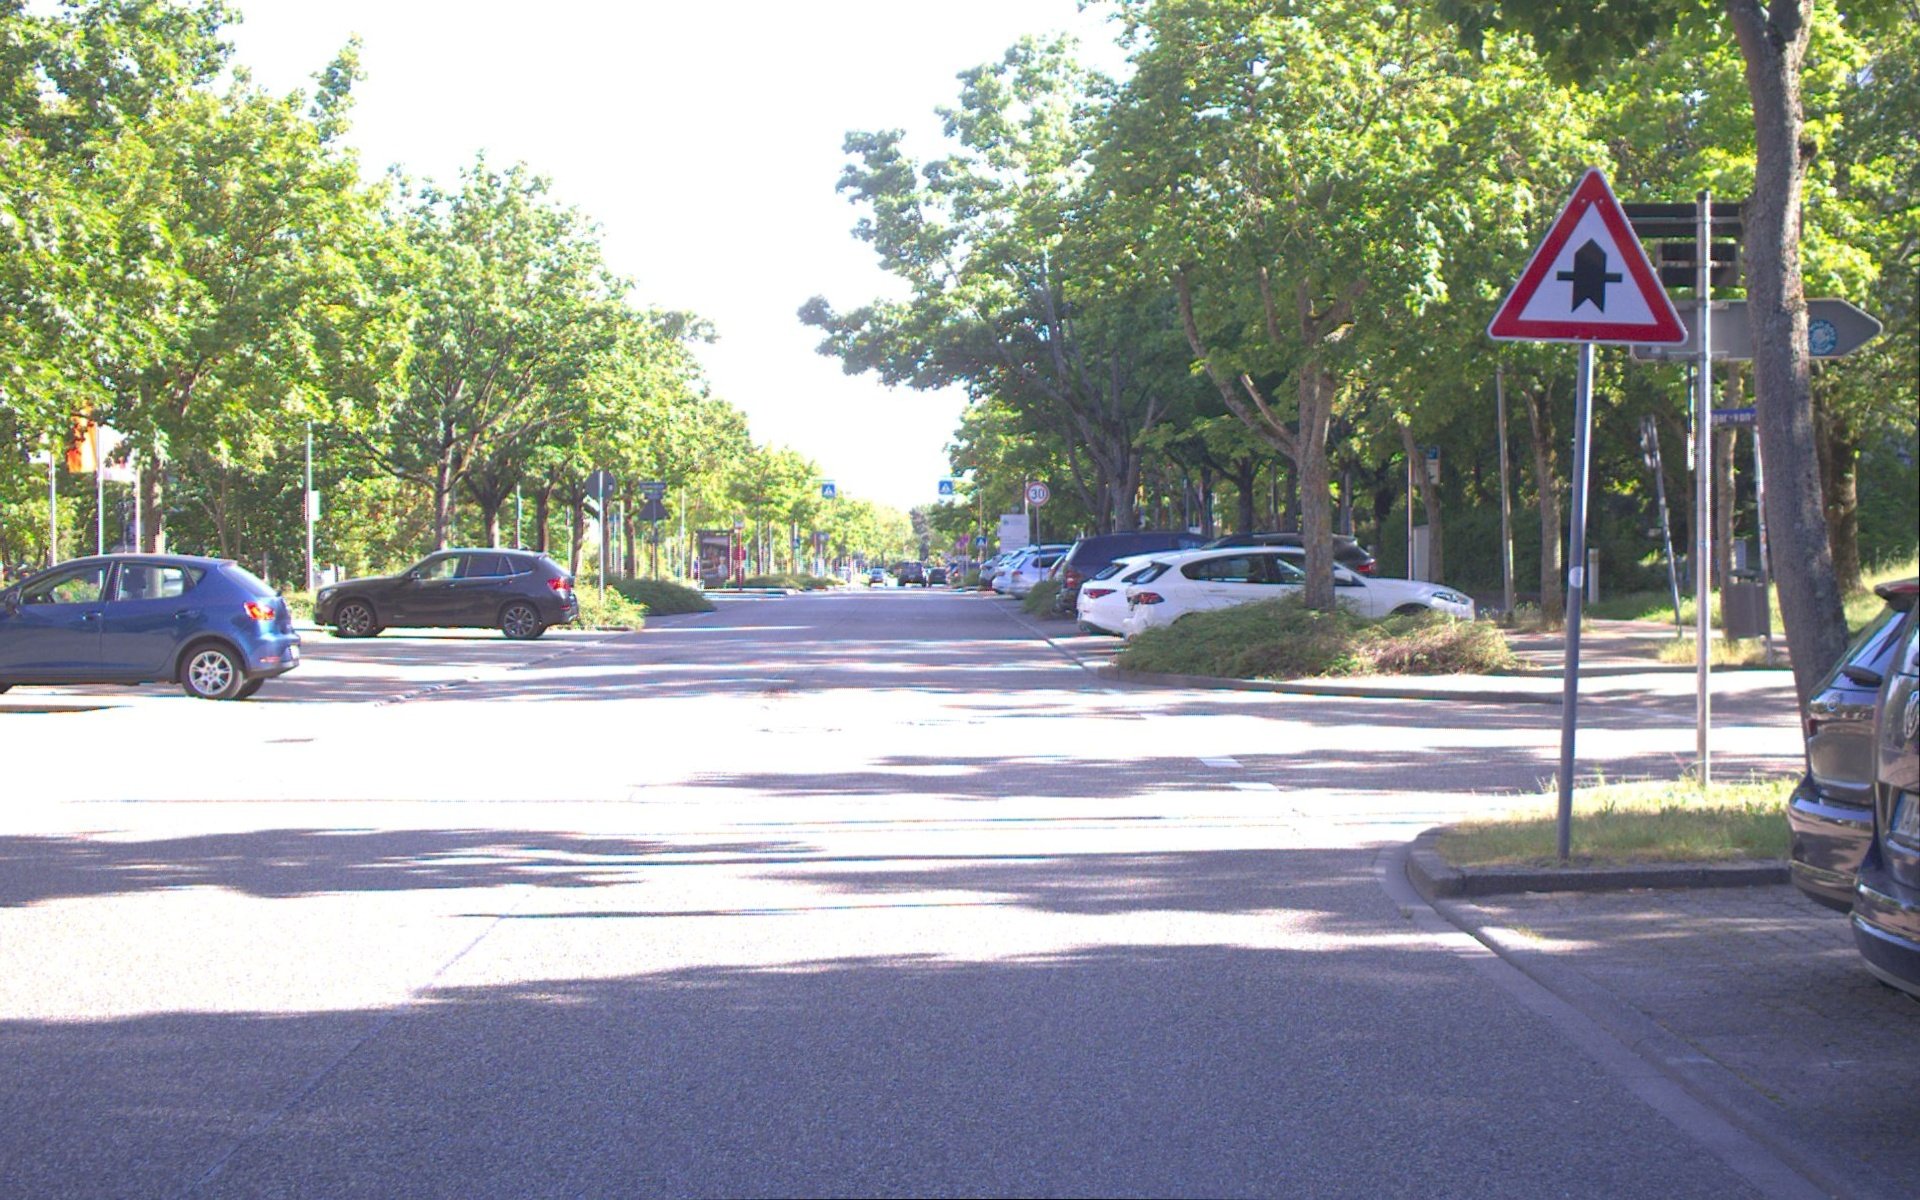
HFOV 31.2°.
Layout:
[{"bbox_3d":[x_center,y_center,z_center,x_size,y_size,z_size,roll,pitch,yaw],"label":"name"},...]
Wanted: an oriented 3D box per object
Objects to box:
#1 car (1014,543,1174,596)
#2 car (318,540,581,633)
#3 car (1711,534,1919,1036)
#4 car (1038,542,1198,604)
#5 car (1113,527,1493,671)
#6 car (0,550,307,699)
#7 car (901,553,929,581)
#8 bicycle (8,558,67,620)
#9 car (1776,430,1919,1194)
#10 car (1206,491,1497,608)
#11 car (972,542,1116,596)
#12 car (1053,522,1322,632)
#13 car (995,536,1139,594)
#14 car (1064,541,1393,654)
[{"bbox_3d":[3.659,-0.823,93.451,4.275,1.423,1.827,0,1,4],"label":"car"},{"bbox_3d":[-8.650,-0.232,58.511,4.192,1.515,1.772,1,1,0],"label":"car"},{"bbox_3d":[4.602,0.456,11.268,3.834,1.441,1.592,-3,3,-3],"label":"car"},{"bbox_3d":[4.054,-0.694,88.623,3.987,1.446,1.717,-2,1,0],"label":"car"},{"bbox_3d":[4.225,-0.025,42.844,4.426,1.587,1.837,-2,1,-3],"label":"car"},{"bbox_3d":[-8.570,0.220,33.892,3.986,1.407,1.817,1,1,-4],"label":"car"},{"bbox_3d":[-3.218,-2.382,247.304,1.993,2.007,4.000,1,1,0],"label":"car"},{"bbox_3d":[-15.985,-0.197,59.624,0.437,1.044,2.193,1,1,0],"label":"bicycle"},{"bbox_3d":[4.030,0.436,8.350,3.672,1.745,1.724,-1,1,2],"label":"car"},{"bbox_3d":[5.904,-0.751,52.156,4.118,1.612,1.734,-2,0,-2],"label":"car"},{"bbox_3d":[2.607,-0.967,107.325,4.342,1.484,1.738,-3,1,-2],"label":"car"},{"bbox_3d":[3.995,-0.419,60.976,4.587,1.773,2.000,-2,1,0],"label":"car"},{"bbox_3d":[3.405,-1.130,110.027,4.435,1.642,1.816,-3,1,-2],"label":"car"},{"bbox_3d":[3.776,-0.044,48.841,4.441,1.540,1.818,1,1,-3],"label":"car"}]
